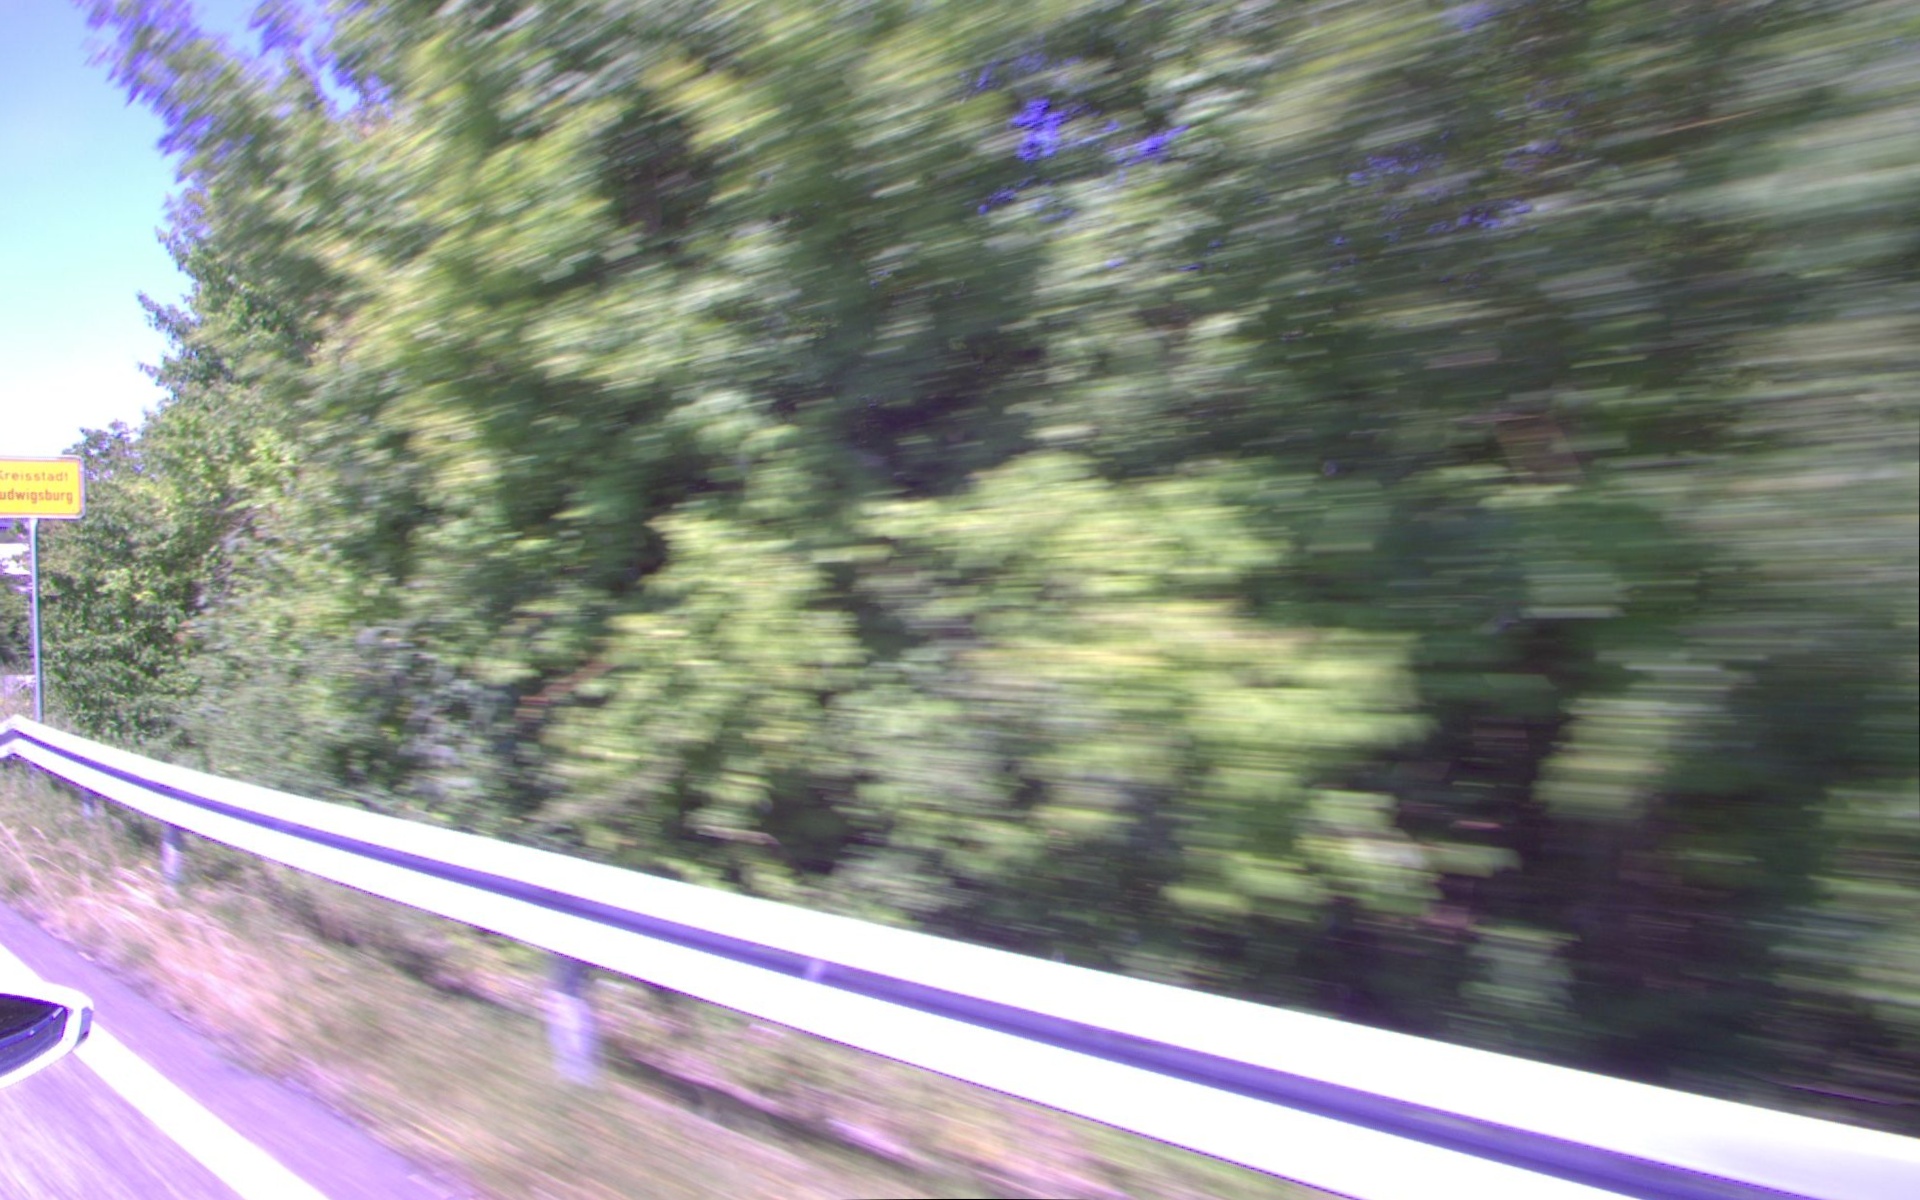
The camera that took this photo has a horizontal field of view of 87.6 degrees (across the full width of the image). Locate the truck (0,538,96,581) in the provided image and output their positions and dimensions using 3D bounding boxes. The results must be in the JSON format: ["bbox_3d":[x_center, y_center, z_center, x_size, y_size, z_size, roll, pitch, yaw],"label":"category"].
[{"bbox_3d":[-81.820,-3.554,89.830,2.983,3.639,8.881,-2,2,-17],"label":"truck"}]
